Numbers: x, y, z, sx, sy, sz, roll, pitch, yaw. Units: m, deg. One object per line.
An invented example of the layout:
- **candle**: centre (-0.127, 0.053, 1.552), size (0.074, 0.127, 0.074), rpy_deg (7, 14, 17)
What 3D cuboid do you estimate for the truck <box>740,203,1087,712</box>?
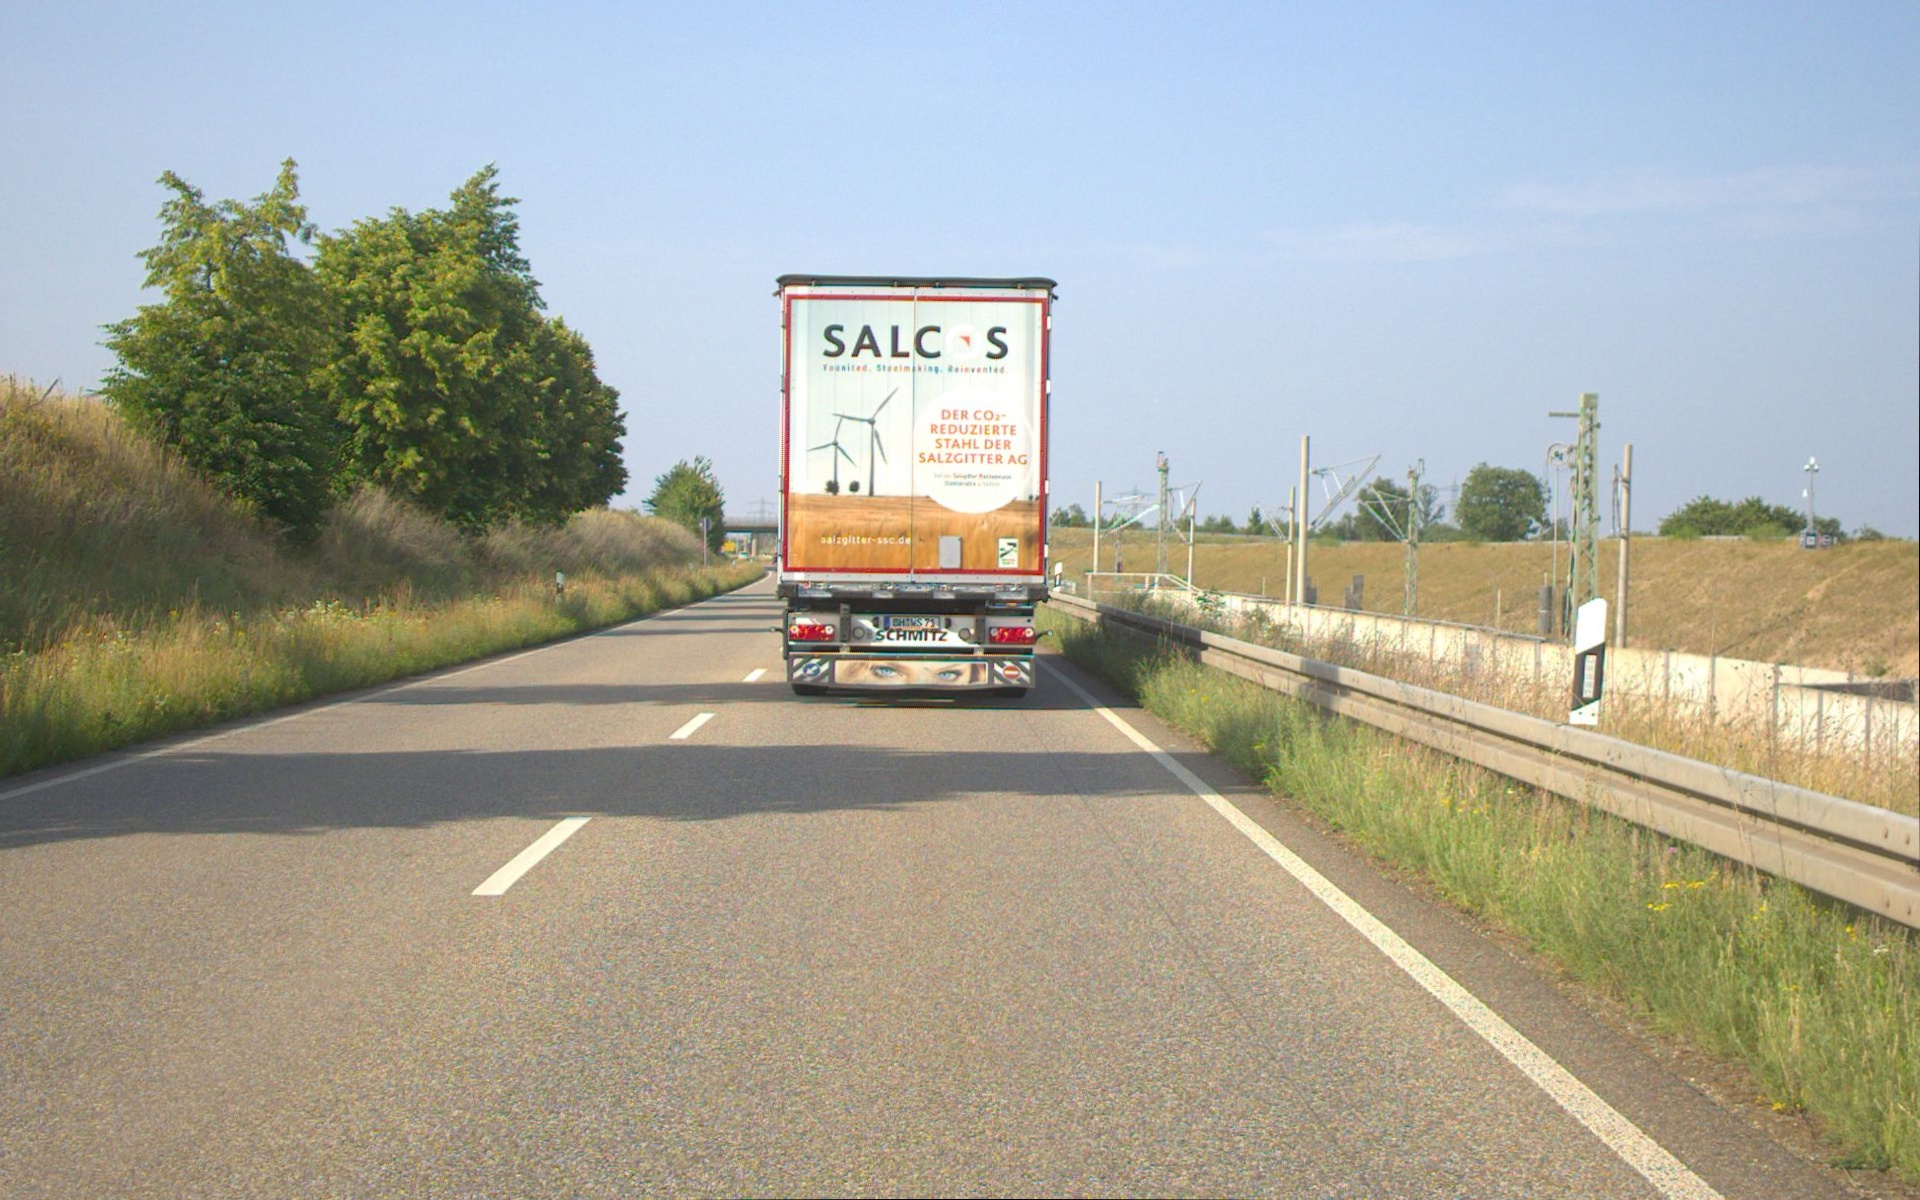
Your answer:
- **truck**: centre (-0.428, -1.383, 36.032), size (3.153, 4.672, 8.442), rpy_deg (1, 1, 0)
